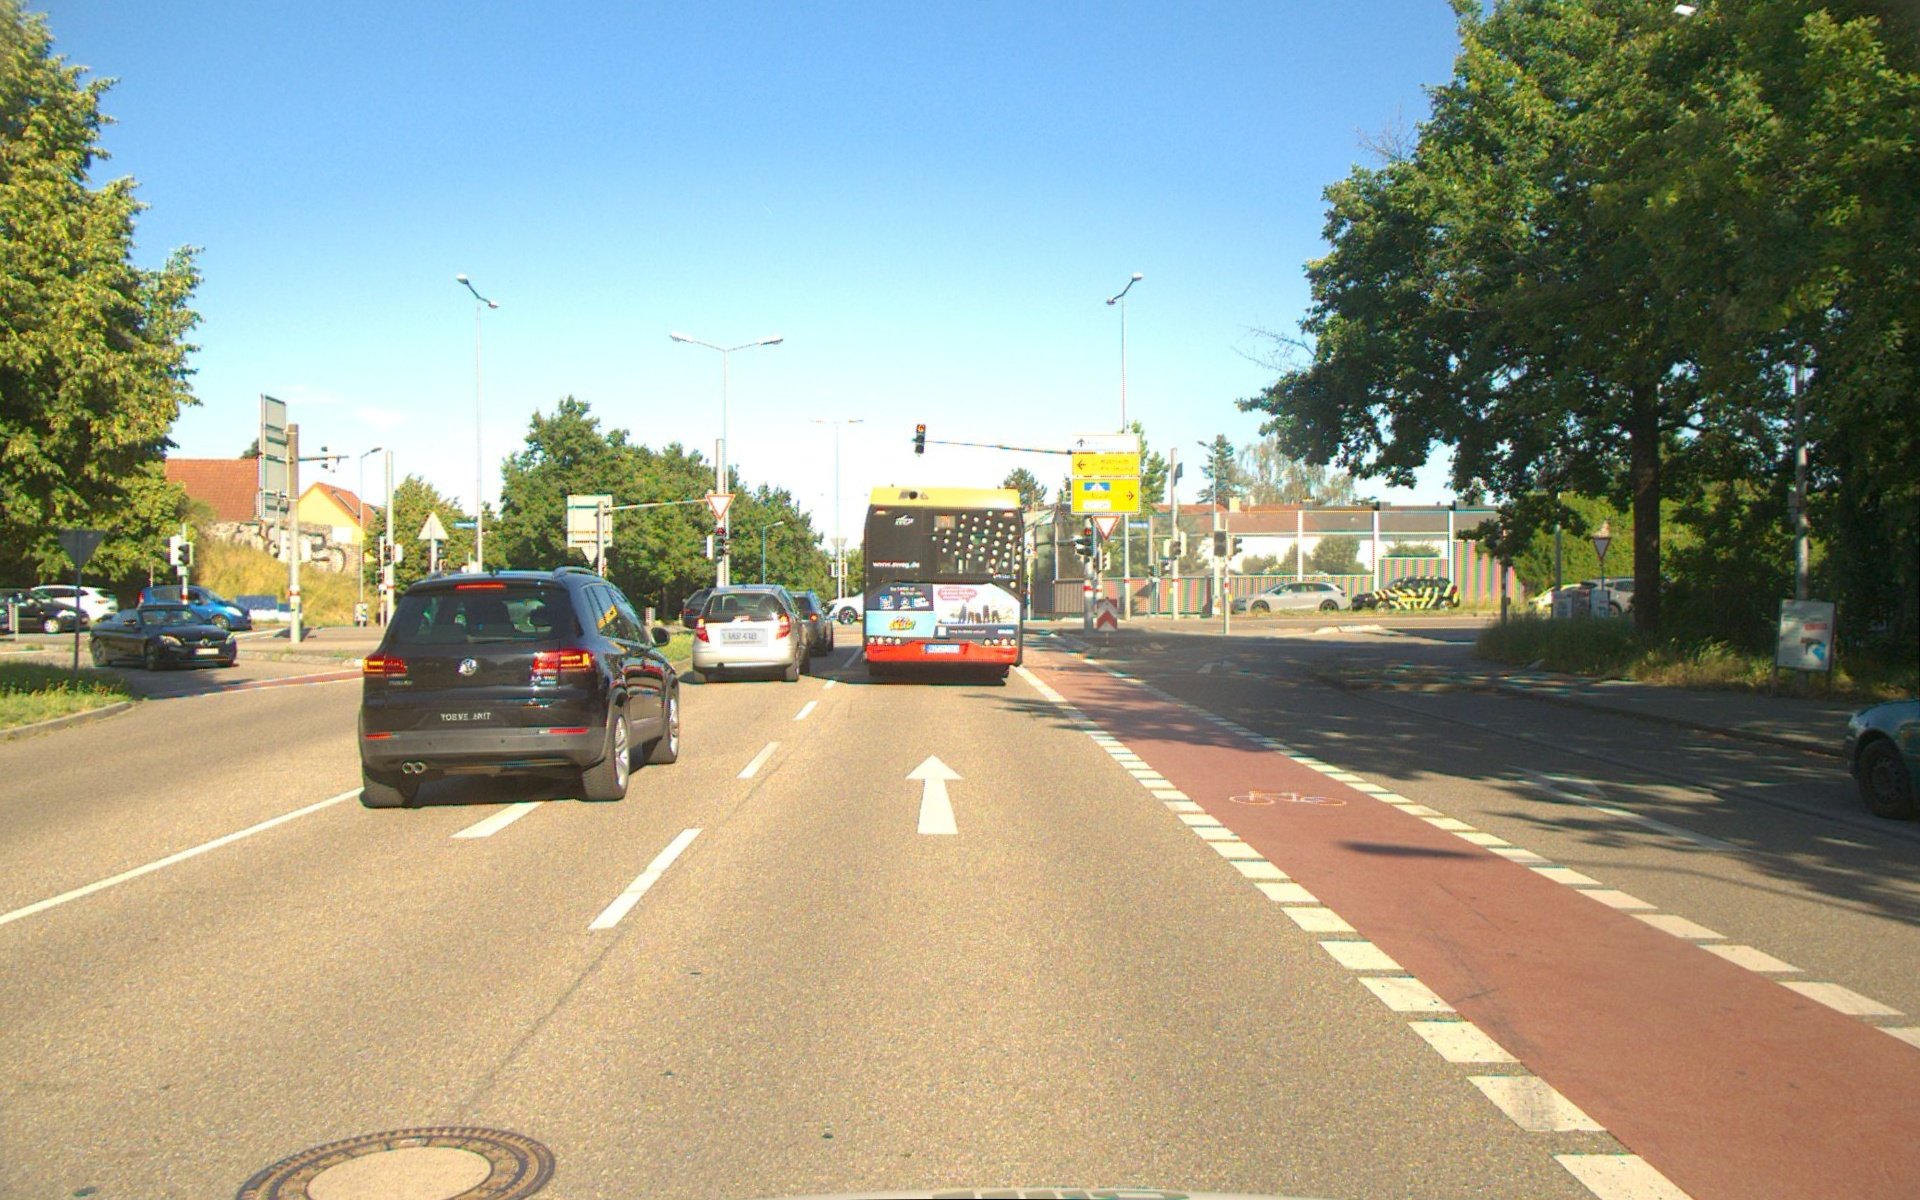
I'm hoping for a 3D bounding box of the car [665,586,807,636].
[{"bbox_3d":[-7.079,0.338,52.559,4.376,1.466,1.681,-1,1,-6],"label":"car"}]

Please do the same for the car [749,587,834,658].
[{"bbox_3d":[-3.763,0.486,37.393,1.556,1.511,3.682,0,0,0],"label":"car"}]

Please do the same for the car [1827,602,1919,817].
[{"bbox_3d":[7.335,0.736,10.370,1.560,1.453,4.203,-2,0,0],"label":"car"}]

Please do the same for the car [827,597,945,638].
[{"bbox_3d":[-2.972,0.680,66.054,4.610,1.567,1.998,0,0,-5],"label":"car"}]

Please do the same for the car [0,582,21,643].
[{"bbox_3d":[-30.607,0.396,49.533,4.035,1.832,1.455,0,-1,-9],"label":"car"}]

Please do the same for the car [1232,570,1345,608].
[{"bbox_3d":[13.509,-0.450,68.175,4.327,1.485,1.573,1,-1,-4],"label":"car"}]

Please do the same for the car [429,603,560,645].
[{"bbox_3d":[-18.006,0.901,64.105,4.612,1.567,1.997,0,0,-7],"label":"car"}]

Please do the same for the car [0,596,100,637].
[{"bbox_3d":[-31.495,0.564,56.113,3.775,1.336,1.504,1,-1,-10],"label":"car"}]

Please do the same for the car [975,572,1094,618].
[{"bbox_3d":[2.681,-0.182,60.093,4.139,1.590,1.761,1,-1,-6],"label":"car"}]

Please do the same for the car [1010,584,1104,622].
[{"bbox_3d":[4.288,0.118,73.379,3.910,1.640,1.693,0,0,-7],"label":"car"}]

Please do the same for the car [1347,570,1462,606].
[{"bbox_3d":[17.428,-0.479,64.929,4.078,1.325,1.573,1,-1,-4],"label":"car"}]

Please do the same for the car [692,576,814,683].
[{"bbox_3d":[-3.503,0.443,28.599,1.718,1.648,4.032,0,2,-2],"label":"car"}]

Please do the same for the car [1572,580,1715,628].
[{"bbox_3d":[23.067,0.142,55.887,4.139,1.506,1.761,1,-1,-6],"label":"car"}]

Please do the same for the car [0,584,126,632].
[{"bbox_3d":[-33.523,0.303,61.358,4.310,1.713,1.705,1,-1,-15],"label":"car"}]

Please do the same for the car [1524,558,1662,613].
[{"bbox_3d":[16.318,-0.364,42.598,3.355,1.318,1.448,1,-1,-26],"label":"car"}]

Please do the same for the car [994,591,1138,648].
[{"bbox_3d":[2.652,0.461,40.866,3.447,1.325,1.576,0,1,8],"label":"car"}]

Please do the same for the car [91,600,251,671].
[{"bbox_3d":[-18.018,0.817,37.670,1.984,1.427,4.515,-4,1,-43],"label":"car"}]

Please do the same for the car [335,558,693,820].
[{"bbox_3d":[-3.305,0.611,13.072,1.784,1.703,4.001,-2,-1,-1],"label":"car"}]

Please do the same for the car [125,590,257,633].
[{"bbox_3d":[-26.471,0.399,57.014,3.775,1.409,1.679,1,-1,-10],"label":"car"}]

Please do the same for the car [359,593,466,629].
[{"bbox_3d":[-22.006,0.449,66.625,3.772,1.363,1.680,1,-1,-6],"label":"car"}]

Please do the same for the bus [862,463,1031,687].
[{"bbox_3d":[-0.291,-0.427,31.339,2.543,3.393,11.981,1,0,-1],"label":"bus"}]
